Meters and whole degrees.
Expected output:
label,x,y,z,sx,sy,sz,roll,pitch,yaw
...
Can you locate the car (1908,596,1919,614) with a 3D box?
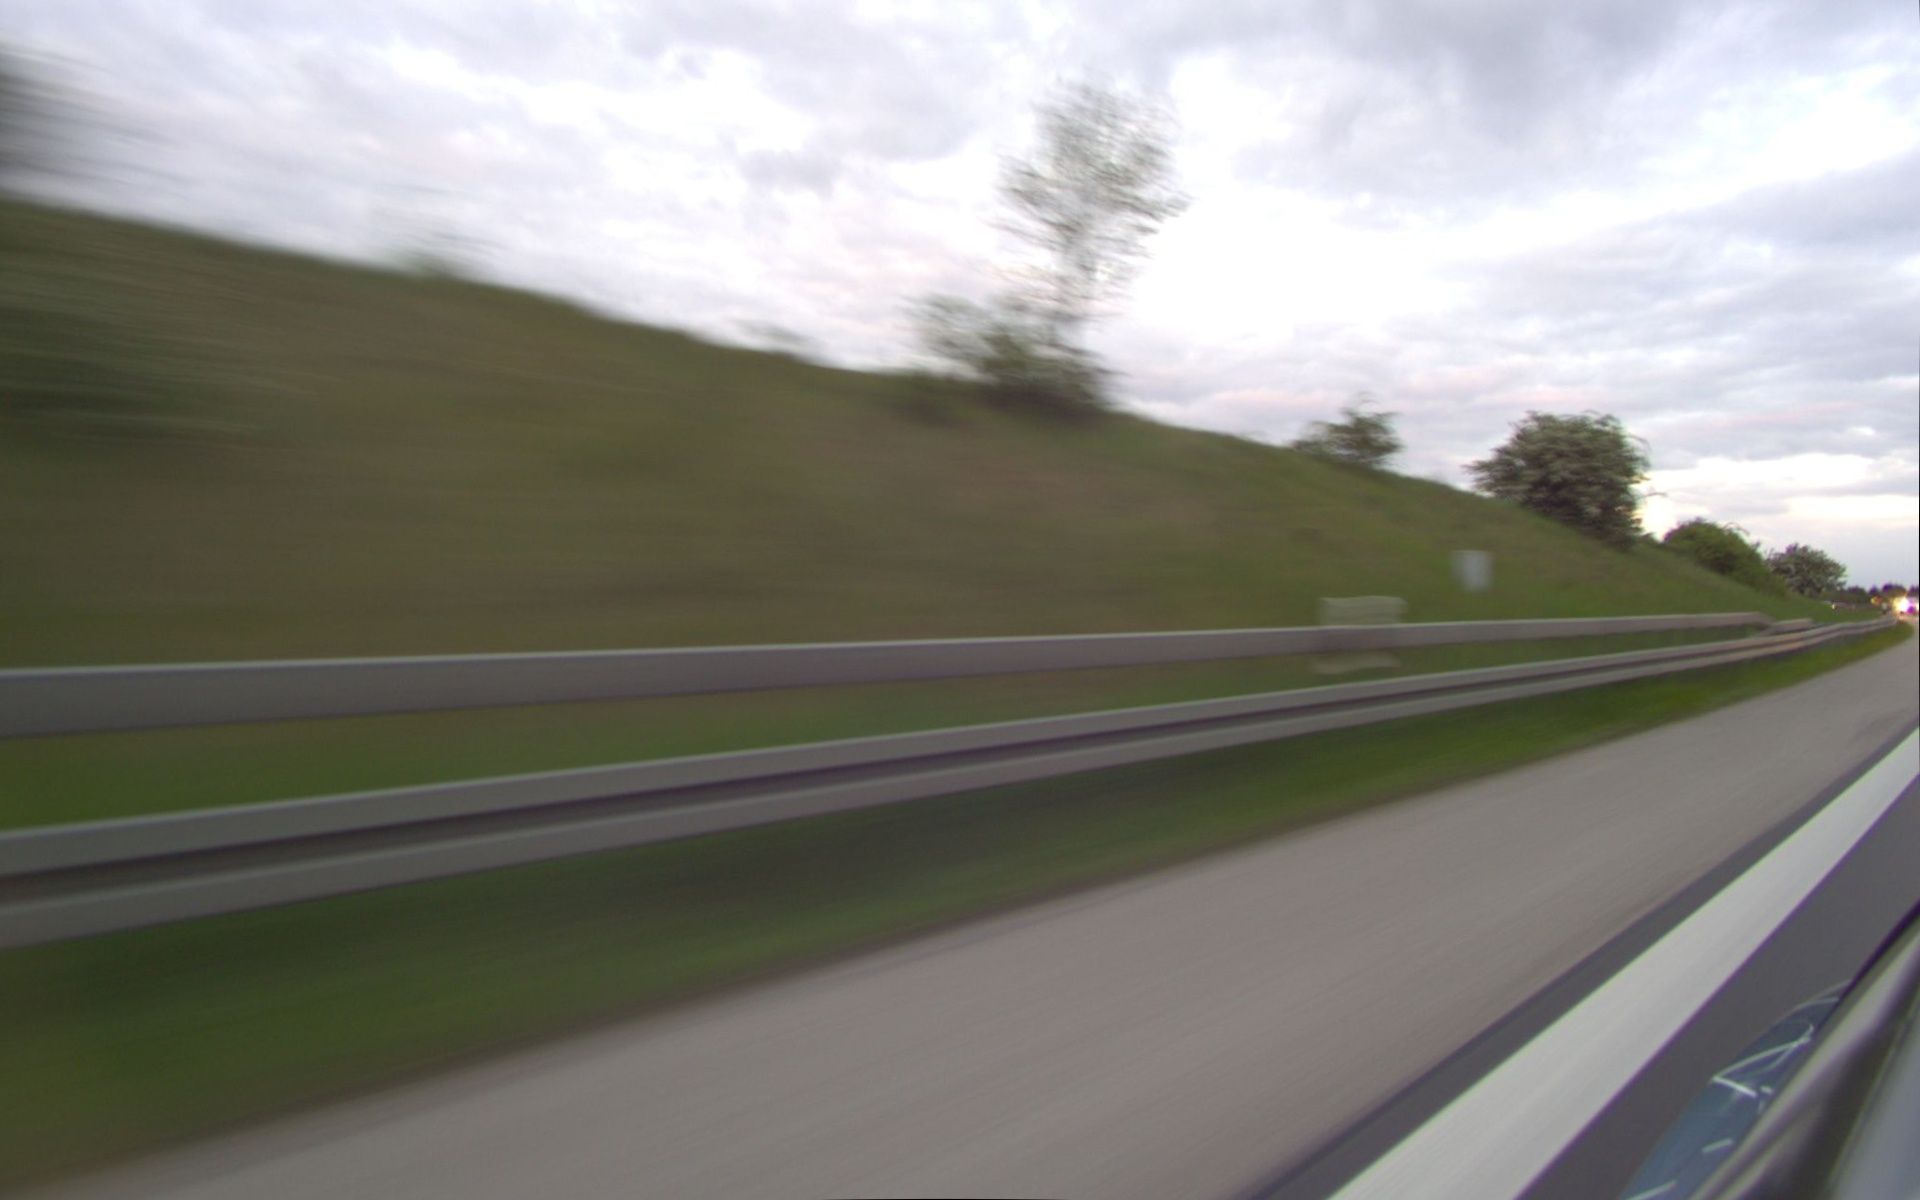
label,x,y,z,sx,sy,sz,roll,pitch,yaw
car,101.566,0.562,106.914,1.915,1.860,3.938,3,2,43
